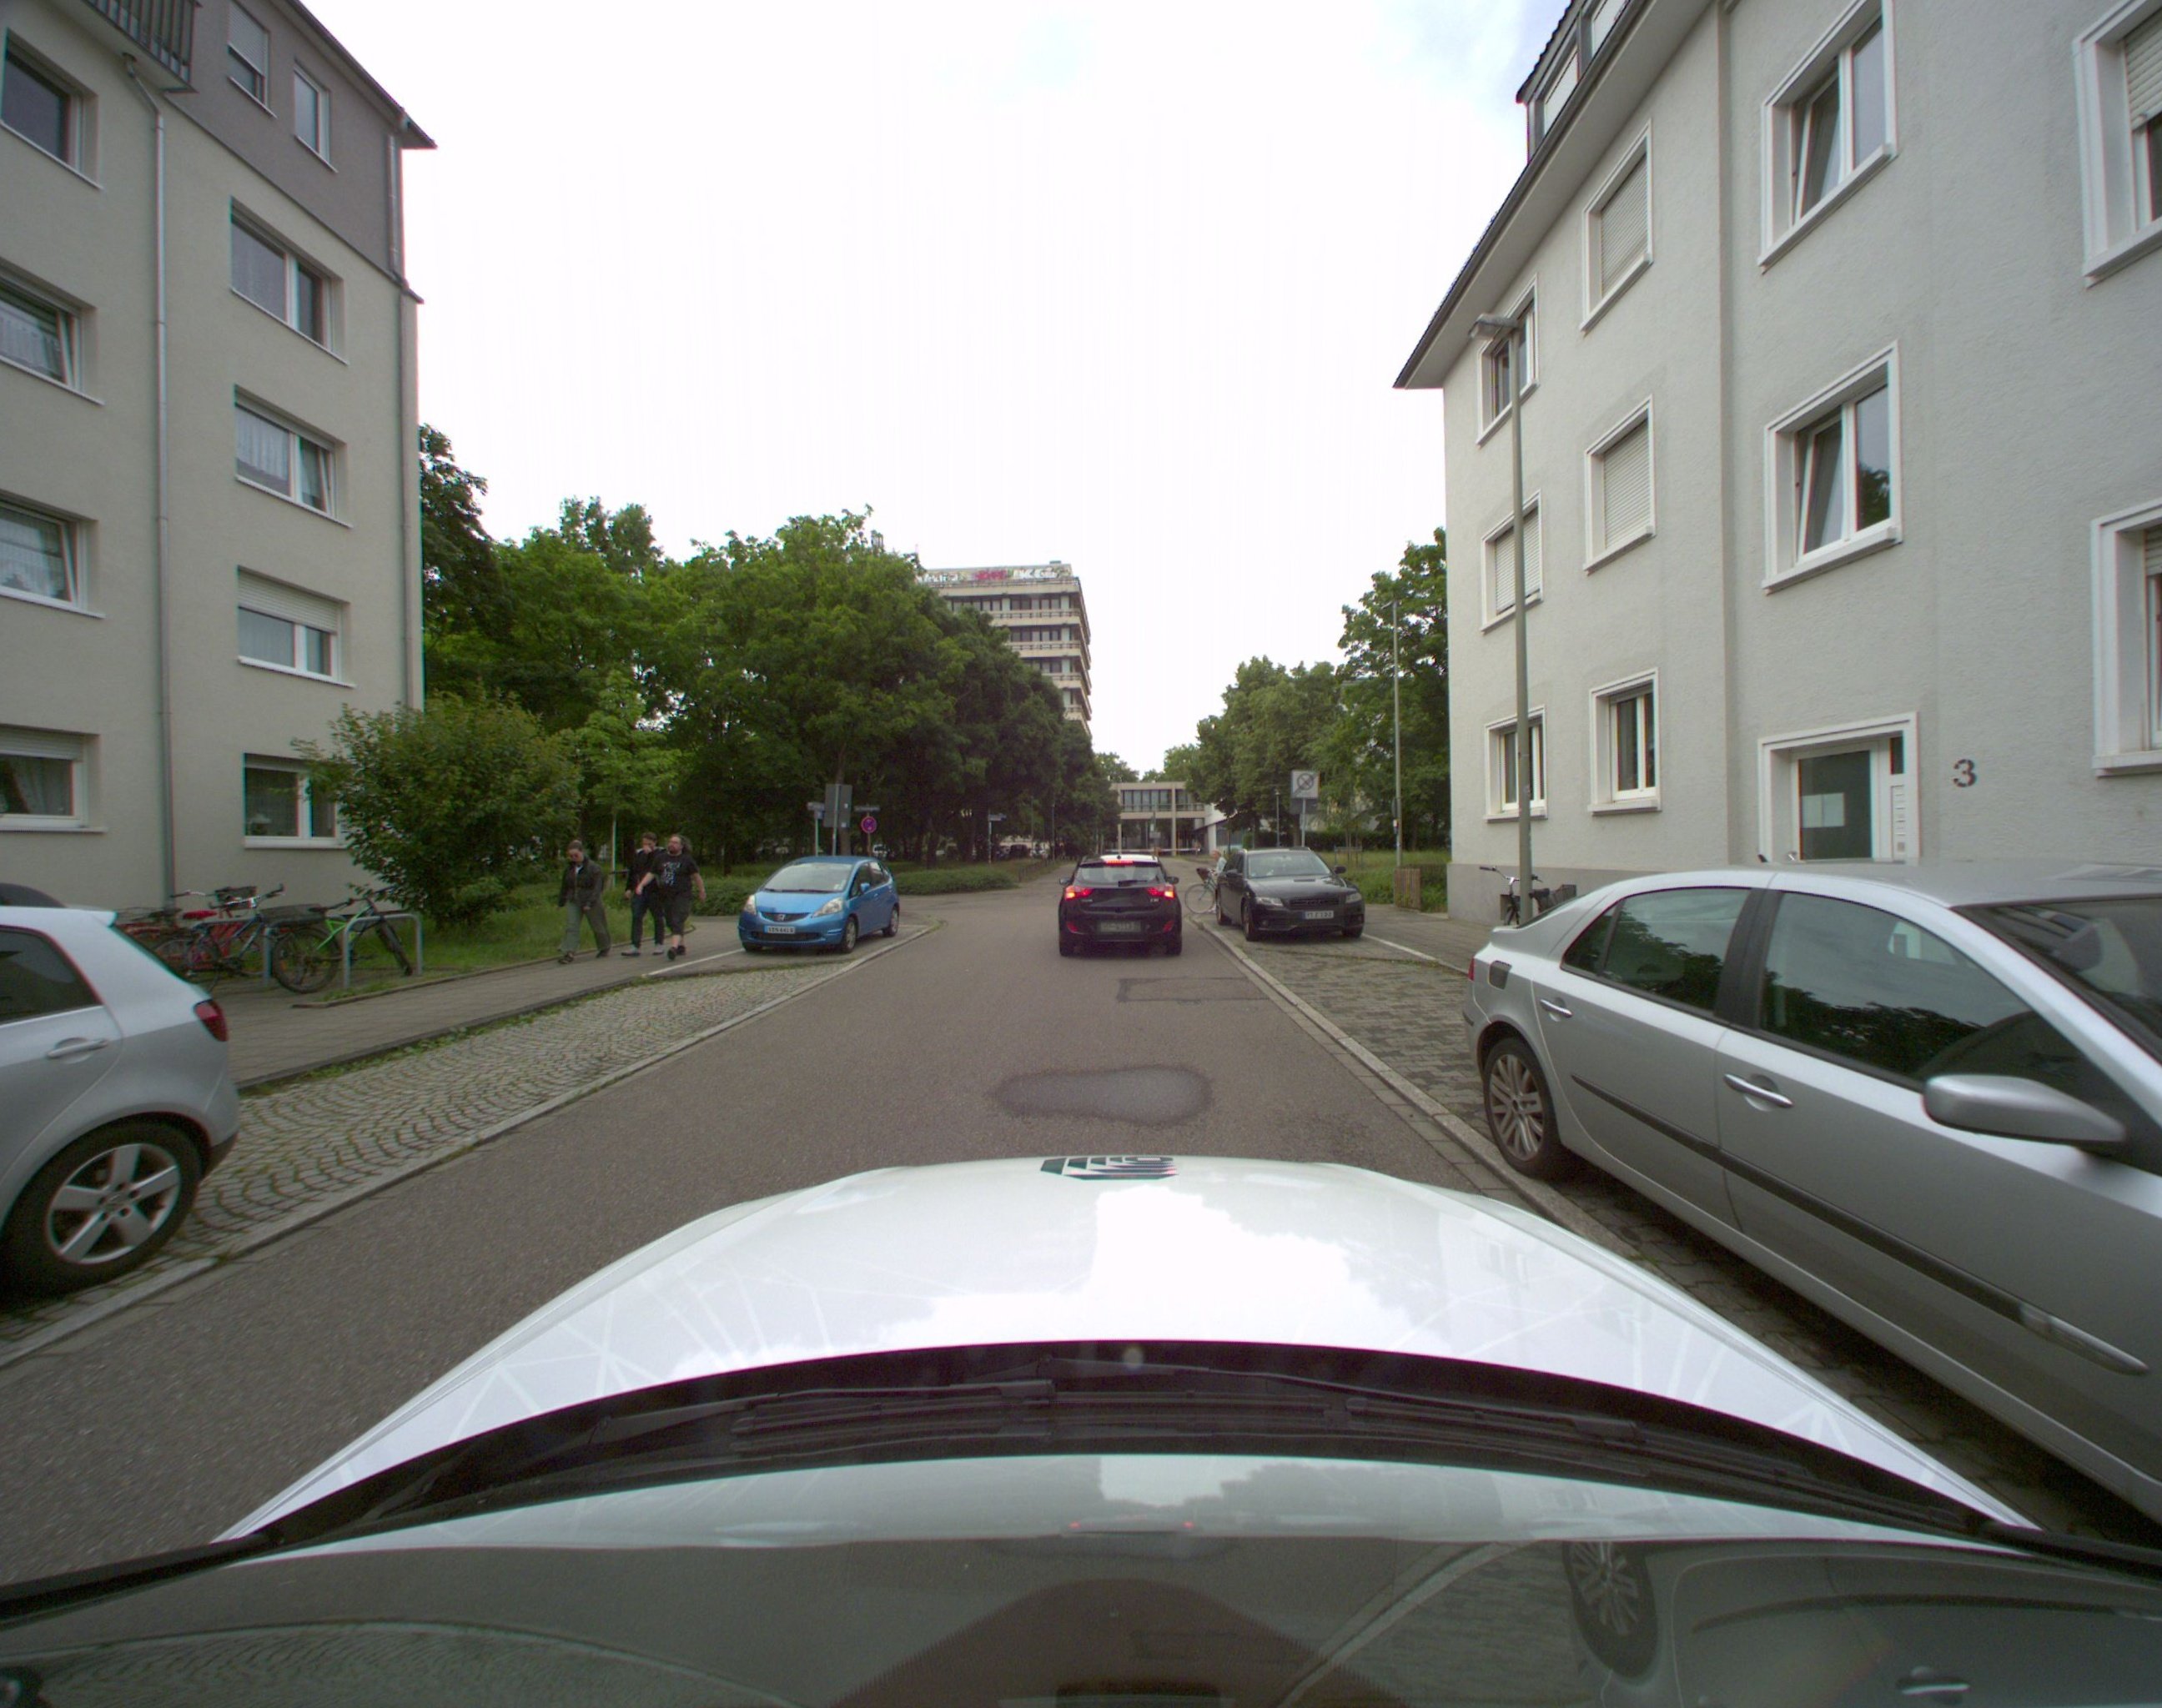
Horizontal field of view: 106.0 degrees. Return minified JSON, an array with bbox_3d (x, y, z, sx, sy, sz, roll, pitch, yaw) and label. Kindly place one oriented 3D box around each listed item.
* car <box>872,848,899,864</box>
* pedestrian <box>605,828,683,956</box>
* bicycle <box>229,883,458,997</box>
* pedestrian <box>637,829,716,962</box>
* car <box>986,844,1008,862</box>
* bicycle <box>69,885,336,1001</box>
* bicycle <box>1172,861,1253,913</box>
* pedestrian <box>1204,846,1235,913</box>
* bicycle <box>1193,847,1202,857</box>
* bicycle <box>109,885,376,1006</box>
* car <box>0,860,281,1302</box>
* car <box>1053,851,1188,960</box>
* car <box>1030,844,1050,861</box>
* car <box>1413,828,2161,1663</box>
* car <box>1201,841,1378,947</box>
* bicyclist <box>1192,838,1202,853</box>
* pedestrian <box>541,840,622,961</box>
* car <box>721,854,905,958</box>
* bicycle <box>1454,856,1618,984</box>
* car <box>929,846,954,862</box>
[{"bbox_3d":[-20.875,0.158,87.044,1.912,1.618,3.998,-1,0,-2],"label":"car"},{"bbox_3d":[-6.533,0.546,12.212,0.704,1.854,0.763,-1,0,1],"label":"pedestrian"},{"bbox_3d":[-8.485,0.939,9.536,0.654,1.068,2.123,-1,1,3],"label":"bicycle"},{"bbox_3d":[-5.930,0.582,11.986,0.638,1.863,0.975,1,0,2],"label":"pedestrian"},{"bbox_3d":[-8.908,-0.087,86.391,1.988,1.794,3.997,-1,-1,-2],"label":"car"},{"bbox_3d":[-10.064,0.965,9.492,0.655,1.070,2.177,-1,1,3],"label":"bicycle"},{"bbox_3d":[3.181,0.783,19.683,1.810,1.119,0.537,-3,1,-7],"label":"bicycle"},{"bbox_3d":[3.270,0.600,19.293,0.565,1.549,0.447,-3,1,-5],"label":"pedestrian"},{"bbox_3d":[13.020,-0.254,91.098,0.863,1.074,2.144,-1,1,3],"label":"bicycle"},{"bbox_3d":[-9.259,0.950,9.165,0.655,1.070,2.177,-1,1,3],"label":"bicycle"},{"bbox_3d":[-4.700,0.831,1.951,1.648,1.550,3.916,1,1,1],"label":"car"},{"bbox_3d":[0.551,0.707,13.091,1.840,1.462,3.827,-1,0,0],"label":"car"},{"bbox_3d":[-4.329,-0.142,86.305,1.988,1.762,3.997,-1,0,-2],"label":"car"},{"bbox_3d":[2.767,0.669,2.454,1.727,1.462,4.430,-2,1,0],"label":"car"},{"bbox_3d":[3.371,0.561,14.156,1.854,1.462,4.725,-2,0,0],"label":"car"},{"bbox_3d":[12.972,-0.903,91.055,1.013,1.644,0.924,-1,1,3],"label":"bicyclist"},{"bbox_3d":[-7.103,0.632,11.622,0.612,1.657,0.803,-1,0,1],"label":"pedestrian"},{"bbox_3d":[-4.395,0.763,14.040,1.724,1.462,3.959,1,1,2],"label":"car"},{"bbox_3d":[4.925,0.649,8.983,0.746,1.200,1.896,-3,1,2],"label":"bicycle"},{"bbox_3d":[-14.721,-0.015,86.318,1.988,1.618,3.998,-1,0,-2],"label":"car"}]
